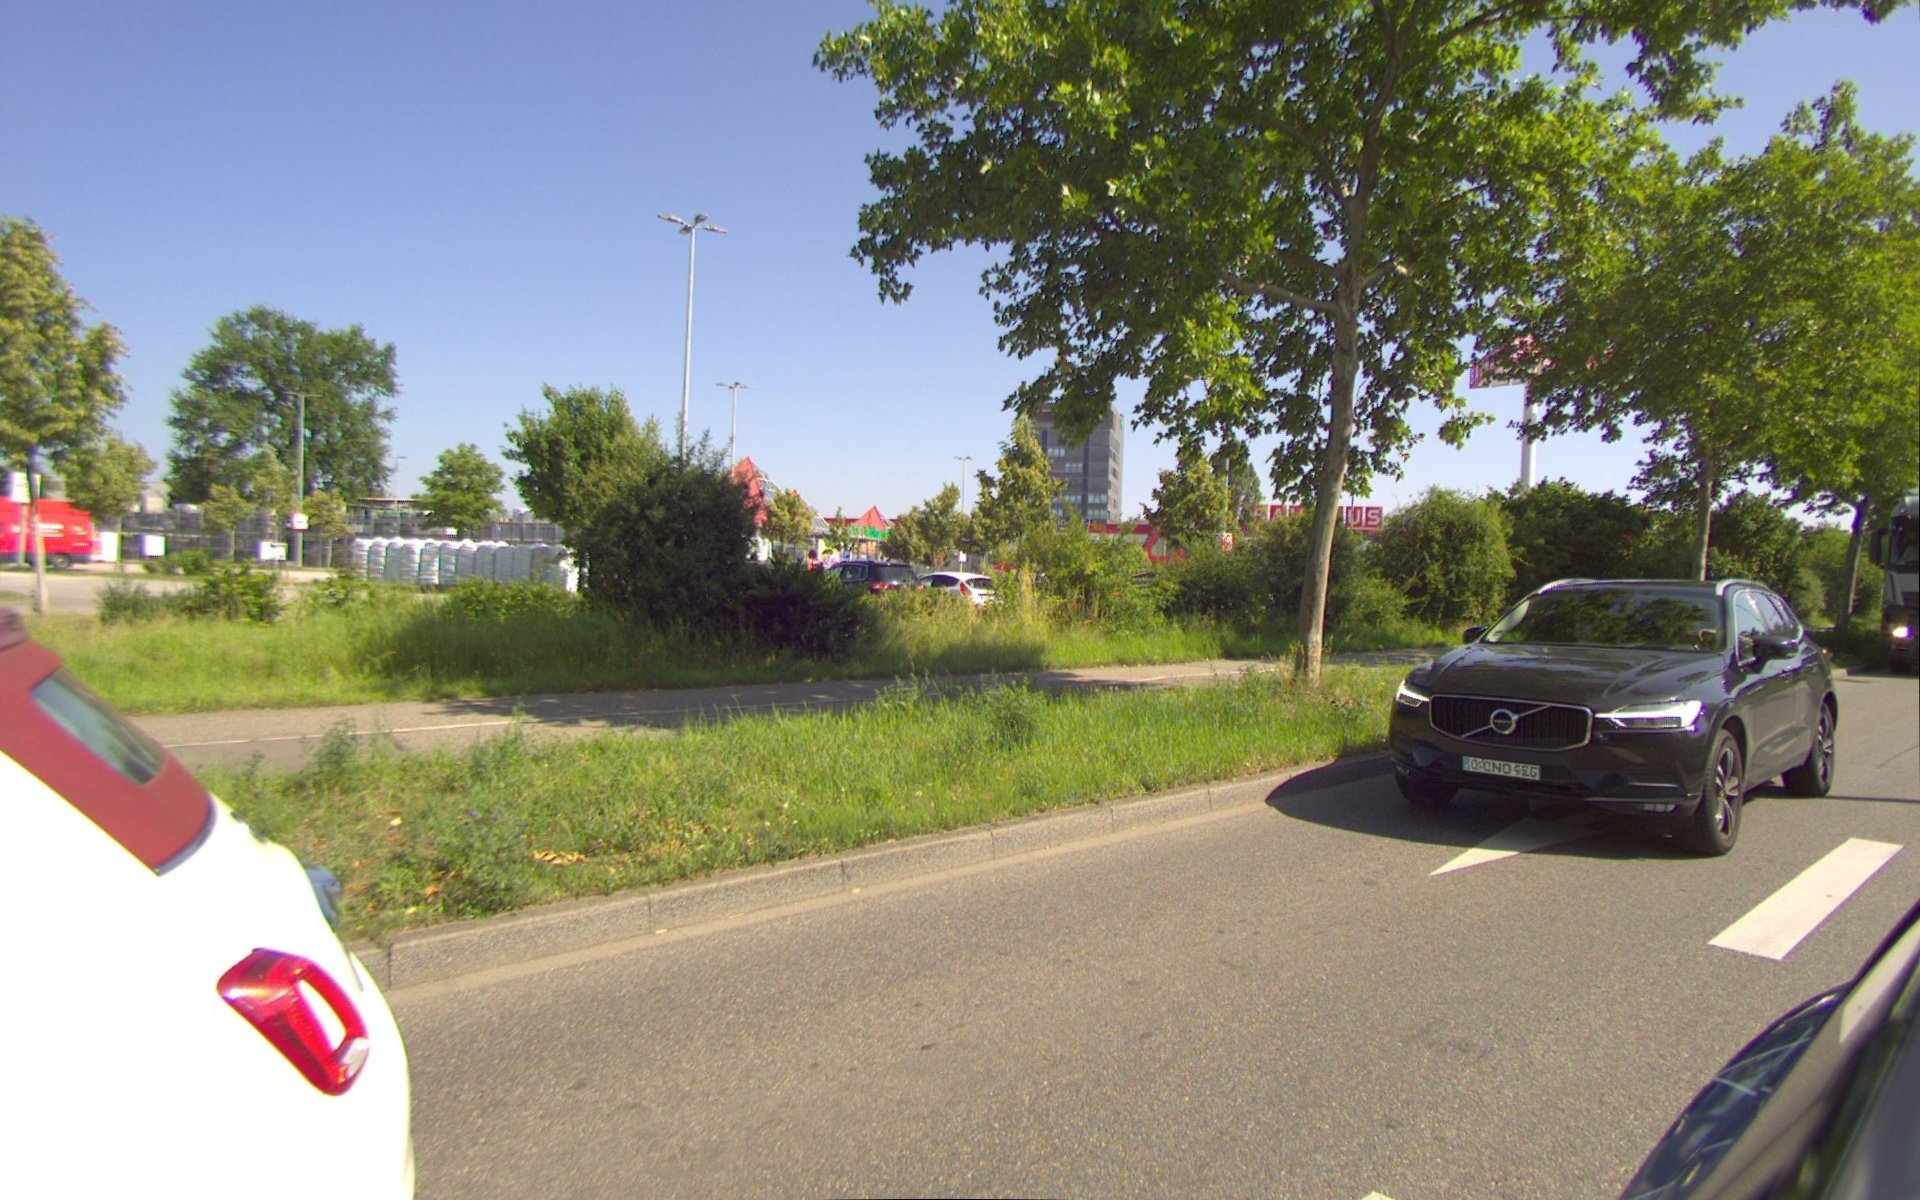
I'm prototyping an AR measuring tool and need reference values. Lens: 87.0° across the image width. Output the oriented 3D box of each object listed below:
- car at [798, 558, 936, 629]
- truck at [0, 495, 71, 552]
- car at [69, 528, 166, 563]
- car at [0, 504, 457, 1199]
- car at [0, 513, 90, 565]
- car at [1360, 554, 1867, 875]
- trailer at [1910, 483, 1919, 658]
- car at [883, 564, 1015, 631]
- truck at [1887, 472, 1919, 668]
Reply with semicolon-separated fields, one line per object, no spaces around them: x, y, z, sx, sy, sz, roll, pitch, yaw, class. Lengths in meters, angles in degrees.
-2.456;-0.200;26.260;3.549;1.717;1.692;1;1;45;car
-57.972;-4.589;60.001;1.971;3.289;8.189;1;1;15;truck
-52.650;-3.383;63.357;1.971;2.039;4.370;1;1;15;car
-2.581;0.611;1.023;3.456;1.454;1.665;0;1;-39;car
-45.173;-2.873;47.850;2.087;2.370;5.903;1;1;18;car
4.953;0.554;7.386;4.485;1.642;1.923;0;1;-41;car
27.175;-0.701;26.119;10.608;4.097;2.803;0;1;-41;trailer
-0.352;-0.103;28.132;3.549;1.717;1.692;1;1;45;car
22.049;-0.613;21.546;5.749;3.943;2.739;0;1;-41;truck
